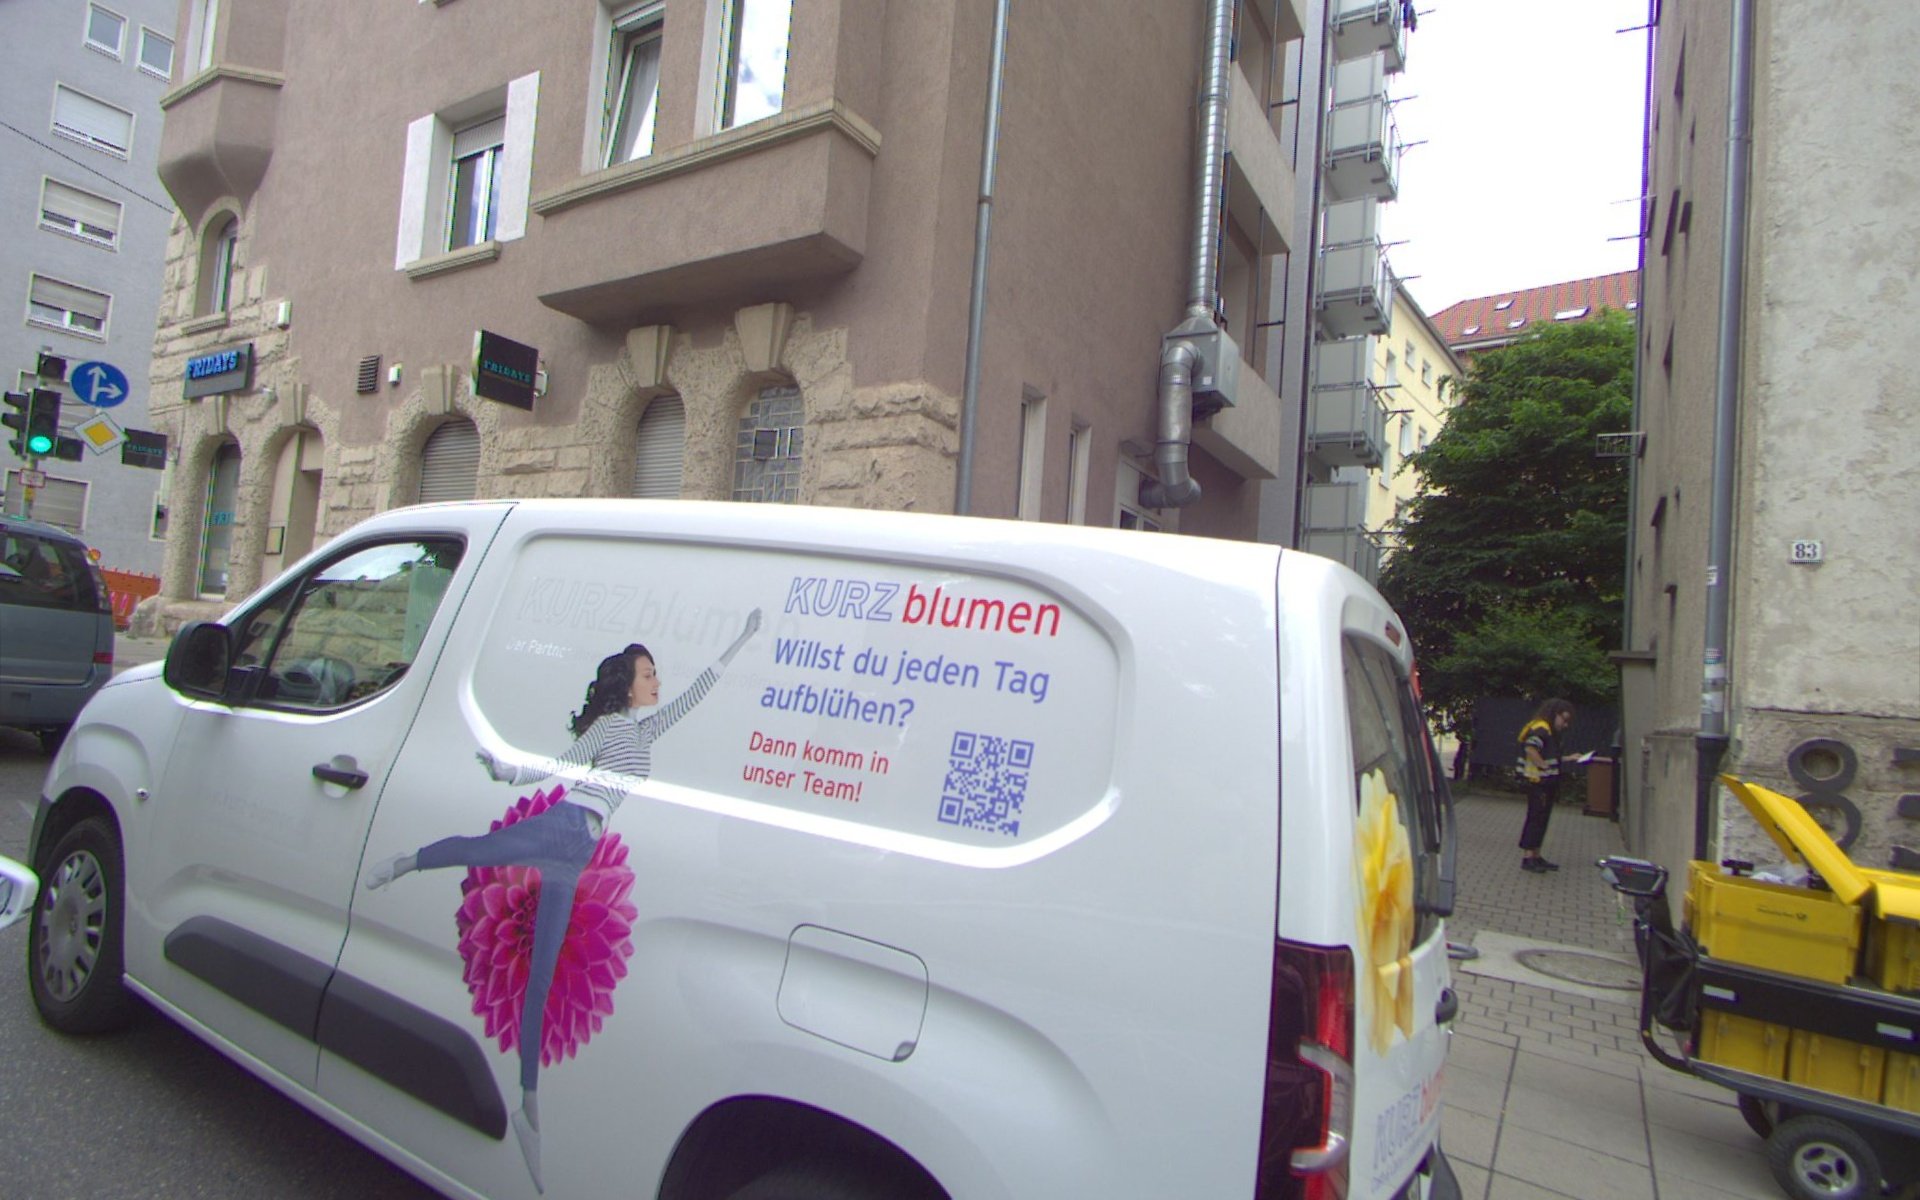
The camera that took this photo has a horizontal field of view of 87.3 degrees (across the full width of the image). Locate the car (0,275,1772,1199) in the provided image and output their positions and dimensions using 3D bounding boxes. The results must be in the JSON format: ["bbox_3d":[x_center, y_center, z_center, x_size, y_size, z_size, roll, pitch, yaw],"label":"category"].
[{"bbox_3d":[-0.770,0.522,3.015,4.598,1.793,1.983,5,-6,30],"label":"car"}]

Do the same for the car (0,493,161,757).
[{"bbox_3d":[-7.532,-0.015,7.097,3.608,1.614,1.634,6,-5,31],"label":"car"}]

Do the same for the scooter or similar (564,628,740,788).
[{"bbox_3d":[-2.561,0.863,8.320,1.400,1.117,0.527,5,-1,34],"label":"scooter or similar"}]

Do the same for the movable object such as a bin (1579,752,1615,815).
[{"bbox_3d":[10.135,2.907,16.010,0.405,0.922,0.340,5,-2,32],"label":"movable object such as a bin"}]

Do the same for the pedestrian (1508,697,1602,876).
[{"bbox_3d":[5.983,1.821,10.115,0.772,1.665,0.809,-1,-4,32],"label":"pedestrian"}]

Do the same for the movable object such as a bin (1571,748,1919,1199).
[{"bbox_3d":[3.604,1.442,3.866,1.979,1.391,1.223,5,-1,29],"label":"movable object such as a bin"}]
